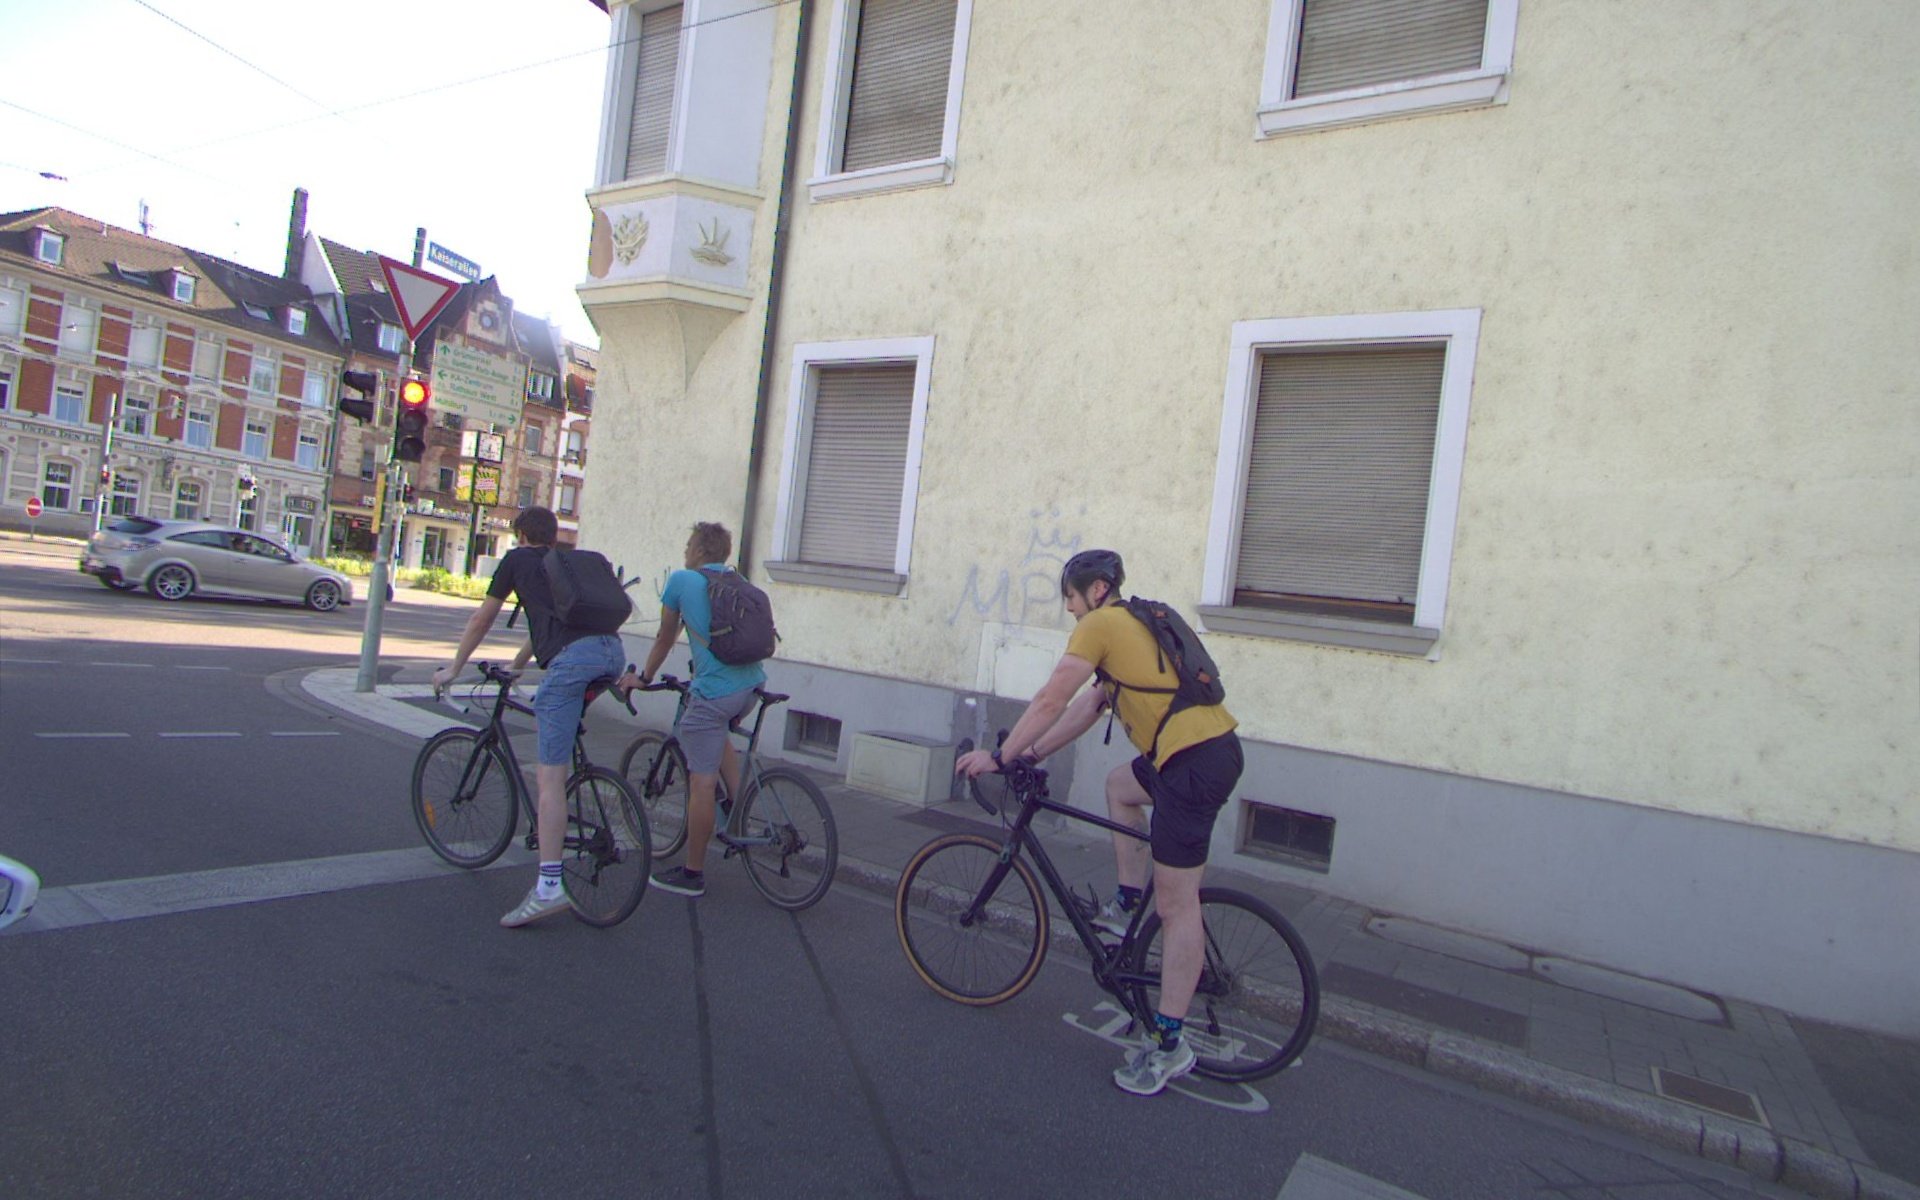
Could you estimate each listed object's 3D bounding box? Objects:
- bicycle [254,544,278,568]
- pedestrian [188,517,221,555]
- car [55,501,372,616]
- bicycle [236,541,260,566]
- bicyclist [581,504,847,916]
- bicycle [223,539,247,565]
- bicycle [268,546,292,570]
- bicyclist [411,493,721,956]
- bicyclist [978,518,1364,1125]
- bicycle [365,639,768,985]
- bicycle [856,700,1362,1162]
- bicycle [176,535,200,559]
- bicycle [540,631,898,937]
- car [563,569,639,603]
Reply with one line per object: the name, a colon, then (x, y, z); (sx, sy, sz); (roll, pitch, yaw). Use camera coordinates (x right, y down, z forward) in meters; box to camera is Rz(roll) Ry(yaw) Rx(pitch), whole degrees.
bicycle: (-33.316, -2.118, 48.299); (1.759, 1.033, 0.485); (7, 0, 42)
pedestrian: (-36.961, -3.128, 49.231); (0.620, 1.731, 1.035); (6, -1, 40)
car: (-13.464, -0.669, 18.476); (1.710, 1.457, 4.283); (7, -2, 25)
bicycle: (-33.679, -2.195, 47.571); (1.759, 1.033, 0.485); (7, 0, 42)
bicyclist: (-1.288, 0.521, 5.281); (0.978, 1.910, 0.652); (7, 0, 32)
bicycle: (-34.007, -2.254, 47.179); (1.759, 1.033, 0.485); (7, 0, 42)
bicycle: (-33.096, -2.062, 48.987); (1.759, 1.033, 0.485); (7, 0, 42)
bicyclist: (-1.753, 0.489, 4.480); (0.978, 1.788, 0.652); (7, 0, 32)
bicyclist: (0.770, 0.694, 3.667); (1.019, 1.839, 0.652); (7, 0, 32)
bicycle: (-1.801, 0.832, 4.478); (1.858, 1.071, 0.571); (7, 0, 32)
bicycle: (0.511, 1.087, 3.783); (1.670, 1.180, 0.571); (7, 0, 32)
bicycle: (-35.070, -2.417, 45.673); (1.759, 0.925, 0.485); (7, 0, 42)
bicycle: (-1.312, 0.874, 5.291); (1.858, 1.180, 0.571); (7, 0, 32)
car: (-23.231, -0.896, 65.269); (1.966, 1.641, 4.261); (7, -1, 29)
